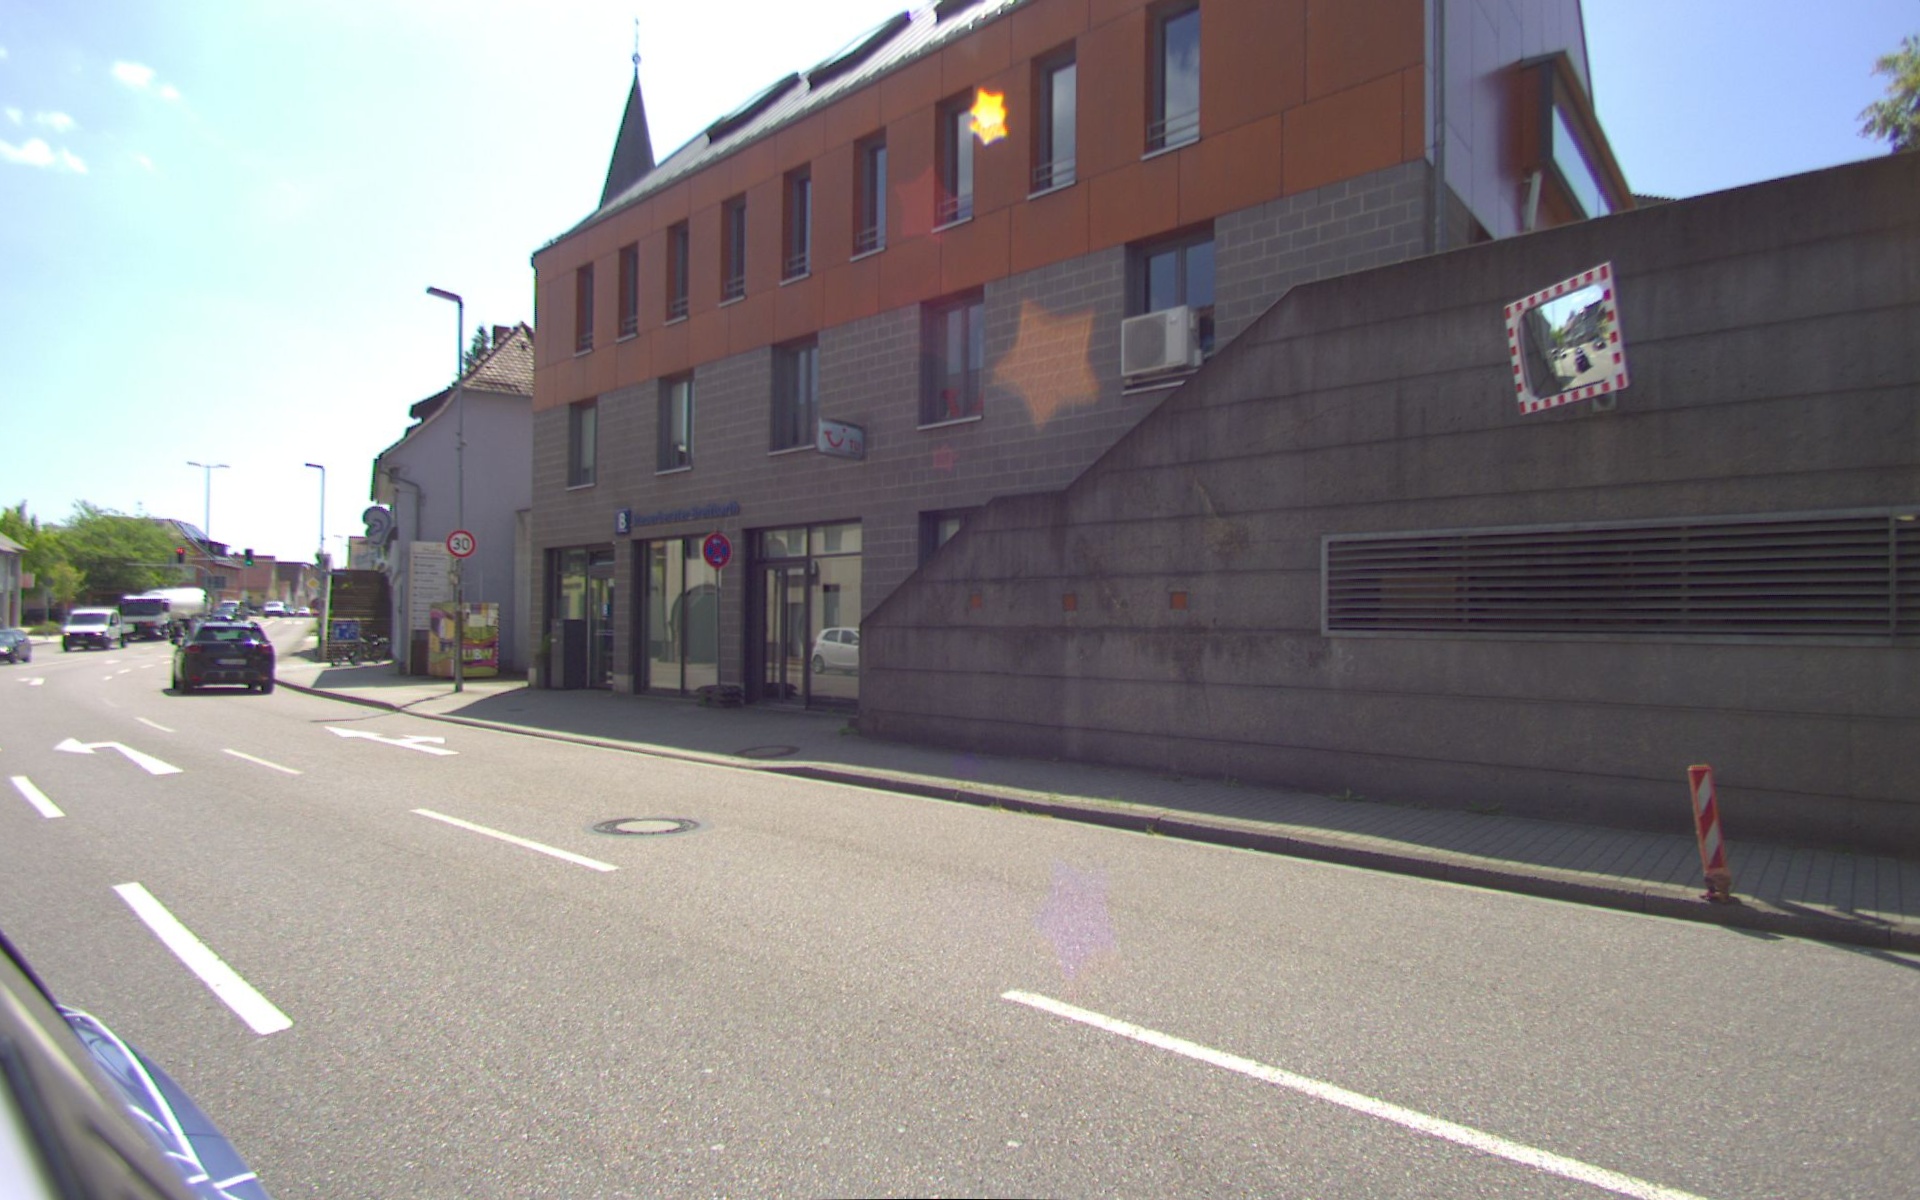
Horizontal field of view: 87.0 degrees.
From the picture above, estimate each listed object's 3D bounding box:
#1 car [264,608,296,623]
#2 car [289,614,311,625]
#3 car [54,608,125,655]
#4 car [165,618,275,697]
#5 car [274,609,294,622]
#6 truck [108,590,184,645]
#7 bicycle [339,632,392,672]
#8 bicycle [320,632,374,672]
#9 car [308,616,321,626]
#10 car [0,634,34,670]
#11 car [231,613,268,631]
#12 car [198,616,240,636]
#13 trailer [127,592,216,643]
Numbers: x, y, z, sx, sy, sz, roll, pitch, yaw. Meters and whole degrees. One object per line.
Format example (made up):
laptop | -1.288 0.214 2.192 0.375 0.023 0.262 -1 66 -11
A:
car | -79.602 1.838 118.520 1.978 1.643 4.592 0 -2 -20
car | -100.011 2.918 153.405 1.978 1.643 4.592 1 -2 -22
car | -49.756 1.794 57.950 2.139 2.583 4.839 1 -2 -30
car | -17.274 1.288 23.563 1.649 1.670 4.023 3 -3 -42
car | -90.874 2.086 136.022 1.979 1.643 4.591 1 -2 -31
truck | -56.088 1.249 69.894 2.800 3.597 5.486 1 -2 -25
bicycle | -20.706 1.786 35.293 0.571 1.258 1.828 -3 0 6
bicycle | -21.351 1.796 35.298 0.571 1.258 1.828 -3 0 6
car | -112.865 3.675 176.960 1.737 1.799 4.012 0 -1 -29
car | -39.840 2.135 41.549 1.898 1.376 4.315 -1 0 -32
car | -69.402 2.164 98.957 1.978 1.643 4.592 1 -2 -23
car | -65.012 2.283 88.851 1.978 1.643 4.592 1 -2 -23
trailer | -58.918 1.362 75.936 2.790 3.597 11.001 1 -2 -25
